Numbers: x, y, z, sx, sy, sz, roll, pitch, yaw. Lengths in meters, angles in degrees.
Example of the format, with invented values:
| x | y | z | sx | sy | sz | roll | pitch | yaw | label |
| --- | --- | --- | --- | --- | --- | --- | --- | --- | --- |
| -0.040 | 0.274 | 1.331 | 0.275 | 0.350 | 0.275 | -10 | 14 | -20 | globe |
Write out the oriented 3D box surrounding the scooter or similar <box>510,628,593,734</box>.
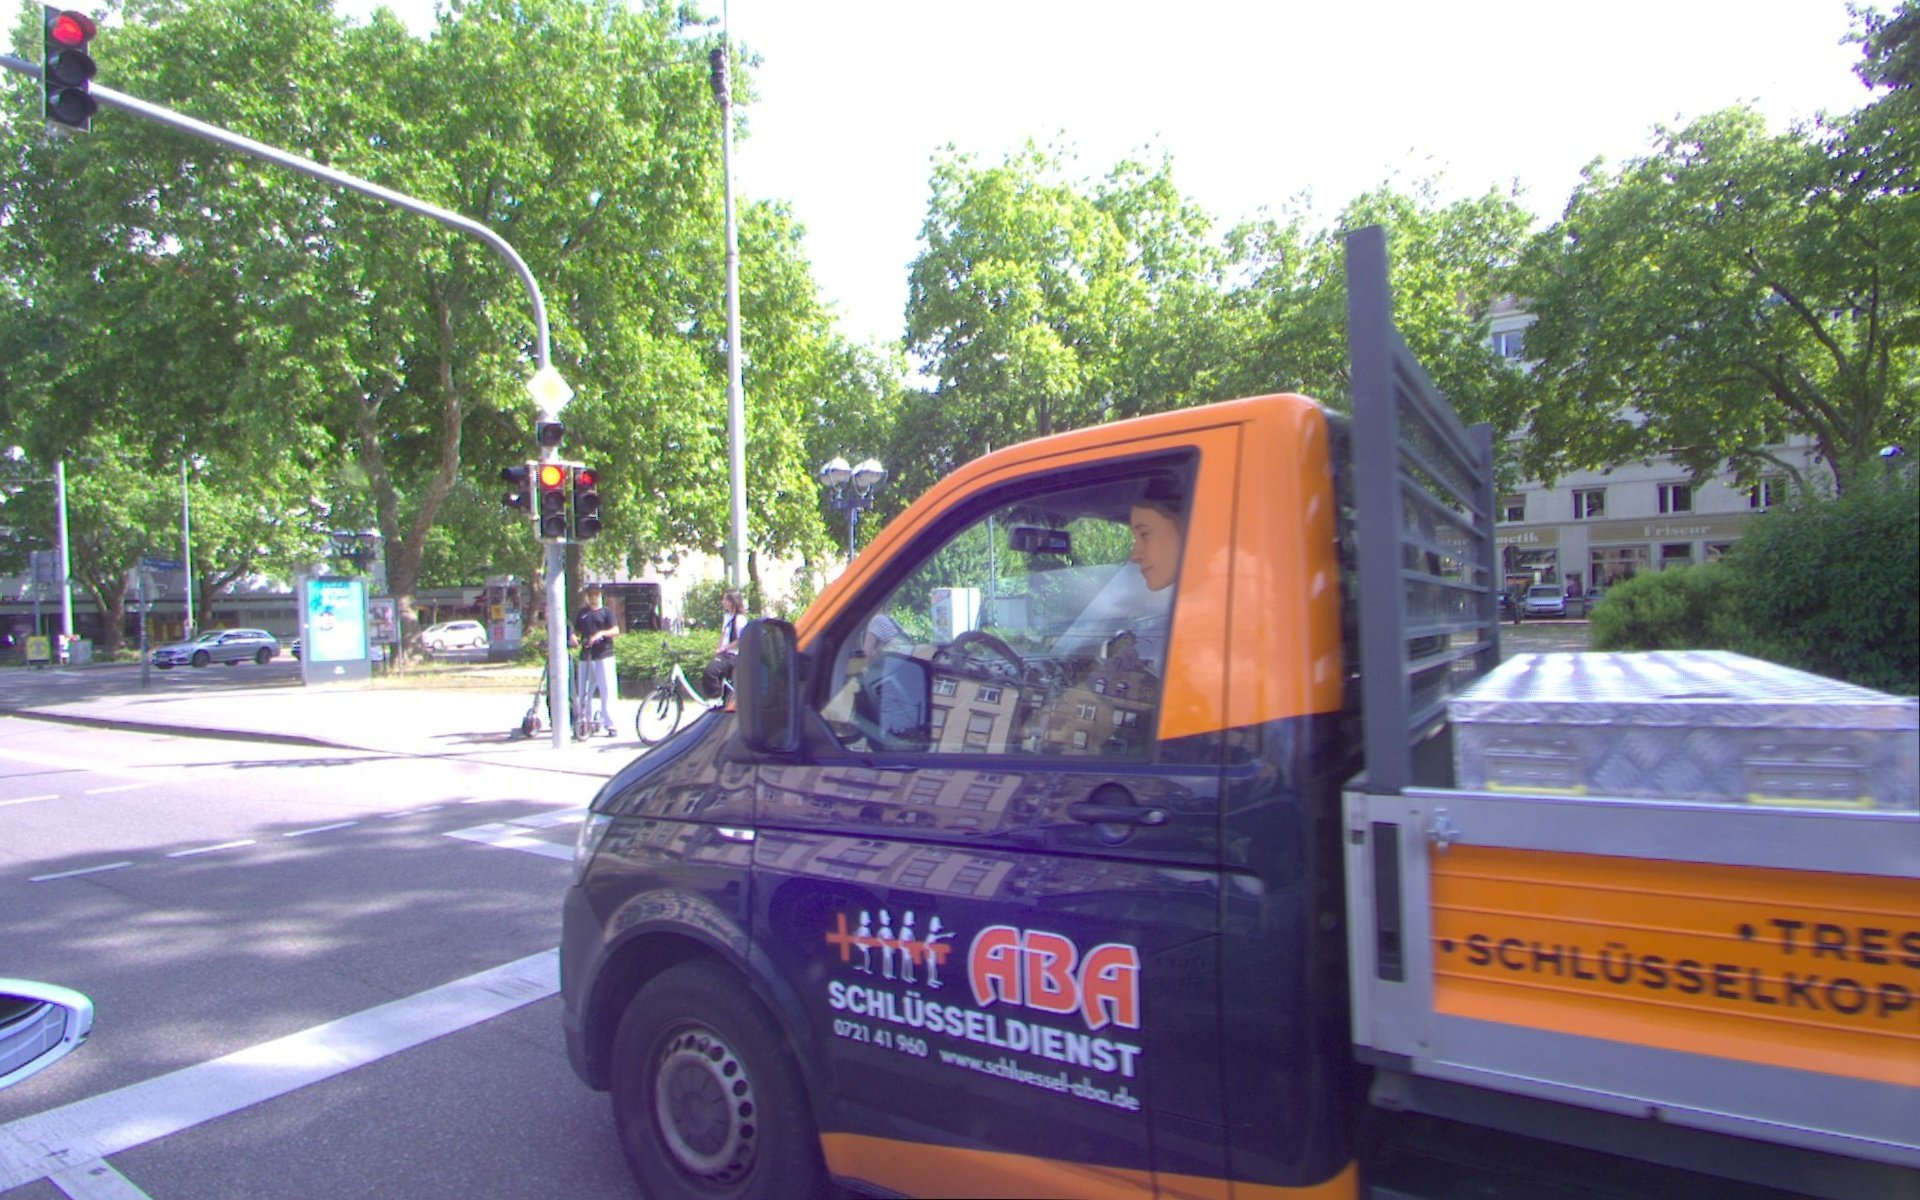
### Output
| x | y | z | sx | sy | sz | roll | pitch | yaw | label |
| --- | --- | --- | --- | --- | --- | --- | --- | --- | --- |
| -5.199 | 1.016 | 12.794 | 0.534 | 1.243 | 0.875 | -2 | 2 | 11 | scooter or similar |

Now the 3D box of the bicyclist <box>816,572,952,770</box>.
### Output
| x | y | z | sx | sy | sz | roll | pitch | yaw | label |
| --- | --- | --- | --- | --- | --- | --- | --- | --- | --- |
| -0.563 | 0.495 | 7.339 | 0.899 | 1.361 | 0.467 | -1 | 1 | 42 | bicyclist |

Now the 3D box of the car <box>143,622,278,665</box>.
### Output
| x | y | z | sx | sy | sz | roll | pitch | yaw | label |
| --- | --- | --- | --- | --- | --- | --- | --- | --- | --- |
| -29.792 | 1.700 | 39.954 | 1.827 | 1.510 | 3.994 | -2 | 0 | 16 | car |

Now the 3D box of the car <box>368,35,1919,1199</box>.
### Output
| x | y | z | sx | sy | sz | roll | pitch | yaw | label |
| --- | --- | --- | --- | --- | --- | --- | --- | --- | --- |
| 1.078 | 0.416 | 2.329 | 5.263 | 2.012 | 2.069 | -3 | -1 | 33 | car |

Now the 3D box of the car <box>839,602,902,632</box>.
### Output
| x | y | z | sx | sy | sz | roll | pitch | yaw | label |
| --- | --- | --- | --- | --- | --- | --- | --- | --- | --- |
| -5.539 | 1.045 | 62.154 | 1.825 | 1.681 | 4.062 | -1 | 0 | 31 | car |

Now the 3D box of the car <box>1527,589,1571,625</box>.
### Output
| x | y | z | sx | sy | sz | roll | pitch | yaw | label |
| --- | --- | --- | --- | --- | --- | --- | --- | --- | --- |
| 29.781 | 0.330 | 50.682 | 1.824 | 1.681 | 4.063 | -1 | 0 | 30 | car |

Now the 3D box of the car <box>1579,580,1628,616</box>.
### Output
| x | y | z | sx | sy | sz | roll | pitch | yaw | label |
| --- | --- | --- | --- | --- | --- | --- | --- | --- | --- |
| 31.721 | -0.096 | 49.436 | 1.824 | 1.681 | 4.063 | -1 | 0 | 30 | car |

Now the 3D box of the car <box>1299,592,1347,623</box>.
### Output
| x | y | z | sx | sy | sz | roll | pitch | yaw | label |
| --- | --- | --- | --- | --- | --- | --- | --- | --- | --- |
| 20.839 | 0.407 | 57.405 | 1.825 | 1.681 | 4.062 | -1 | 0 | 31 | car |

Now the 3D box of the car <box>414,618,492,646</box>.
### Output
| x | y | z | sx | sy | sz | roll | pitch | yaw | label |
| --- | --- | --- | --- | --- | --- | --- | --- | --- | --- |
| -30.432 | 1.925 | 60.239 | 1.831 | 1.510 | 3.836 | -1 | 1 | 25 | car |

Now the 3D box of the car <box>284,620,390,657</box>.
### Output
| x | y | z | sx | sy | sz | roll | pitch | yaw | label |
| --- | --- | --- | --- | --- | --- | --- | --- | --- | --- |
| -28.738 | 1.738 | 46.317 | 1.826 | 1.510 | 4.072 | -2 | 0 | 12 | car |

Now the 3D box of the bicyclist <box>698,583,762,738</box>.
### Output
| x | y | z | sx | sy | sz | roll | pitch | yaw | label |
| --- | --- | --- | --- | --- | --- | --- | --- | --- | --- |
| -2.619 | 0.666 | 11.382 | 0.573 | 1.691 | 0.506 | -4 | 3 | -18 | bicyclist |

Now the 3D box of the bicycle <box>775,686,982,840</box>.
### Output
| x | y | z | sx | sy | sz | roll | pitch | yaw | label |
| --- | --- | --- | --- | --- | --- | --- | --- | --- | --- |
| -0.644 | 1.156 | 7.432 | 1.698 | 0.933 | 0.467 | -2 | 1 | 42 | bicycle |

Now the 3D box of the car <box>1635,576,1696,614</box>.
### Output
| x | y | z | sx | sy | sz | roll | pitch | yaw | label |
| --- | --- | --- | --- | --- | --- | --- | --- | --- | --- |
| 33.794 | -0.253 | 48.063 | 2.052 | 1.681 | 4.063 | -1 | 0 | 30 | car |

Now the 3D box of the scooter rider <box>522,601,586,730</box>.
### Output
| x | y | z | sx | sy | sz | roll | pitch | yaw | label |
| --- | --- | --- | --- | --- | --- | --- | --- | --- | --- |
| -5.196 | 0.833 | 12.842 | 0.534 | 1.615 | 0.437 | -2 | 2 | 11 | scooter rider |

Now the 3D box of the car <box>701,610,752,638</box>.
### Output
| x | y | z | sx | sy | sz | roll | pitch | yaw | label |
| --- | --- | --- | --- | --- | --- | --- | --- | --- | --- |
| -14.690 | 1.496 | 63.147 | 1.658 | 1.521 | 3.997 | -2 | 1 | 9 | car |

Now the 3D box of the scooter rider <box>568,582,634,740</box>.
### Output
| x | y | z | sx | sy | sz | roll | pitch | yaw | label |
| --- | --- | --- | --- | --- | --- | --- | --- | --- | --- |
| -4.337 | 0.710 | 12.090 | 0.537 | 1.835 | 0.675 | -4 | 3 | -31 | scooter rider |

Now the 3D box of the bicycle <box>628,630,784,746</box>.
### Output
| x | y | z | sx | sy | sz | roll | pitch | yaw | label |
| --- | --- | --- | --- | --- | --- | --- | --- | --- | --- |
| -2.863 | 0.962 | 11.315 | 1.602 | 1.128 | 0.506 | -4 | 2 | -18 | bicycle |

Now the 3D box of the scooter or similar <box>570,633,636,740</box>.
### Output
| x | y | z | sx | sy | sz | roll | pitch | yaw | label |
| --- | --- | --- | --- | --- | --- | --- | --- | --- | --- |
| -4.324 | 1.019 | 12.100 | 0.537 | 1.187 | 0.871 | -3 | 3 | -31 | scooter or similar |
